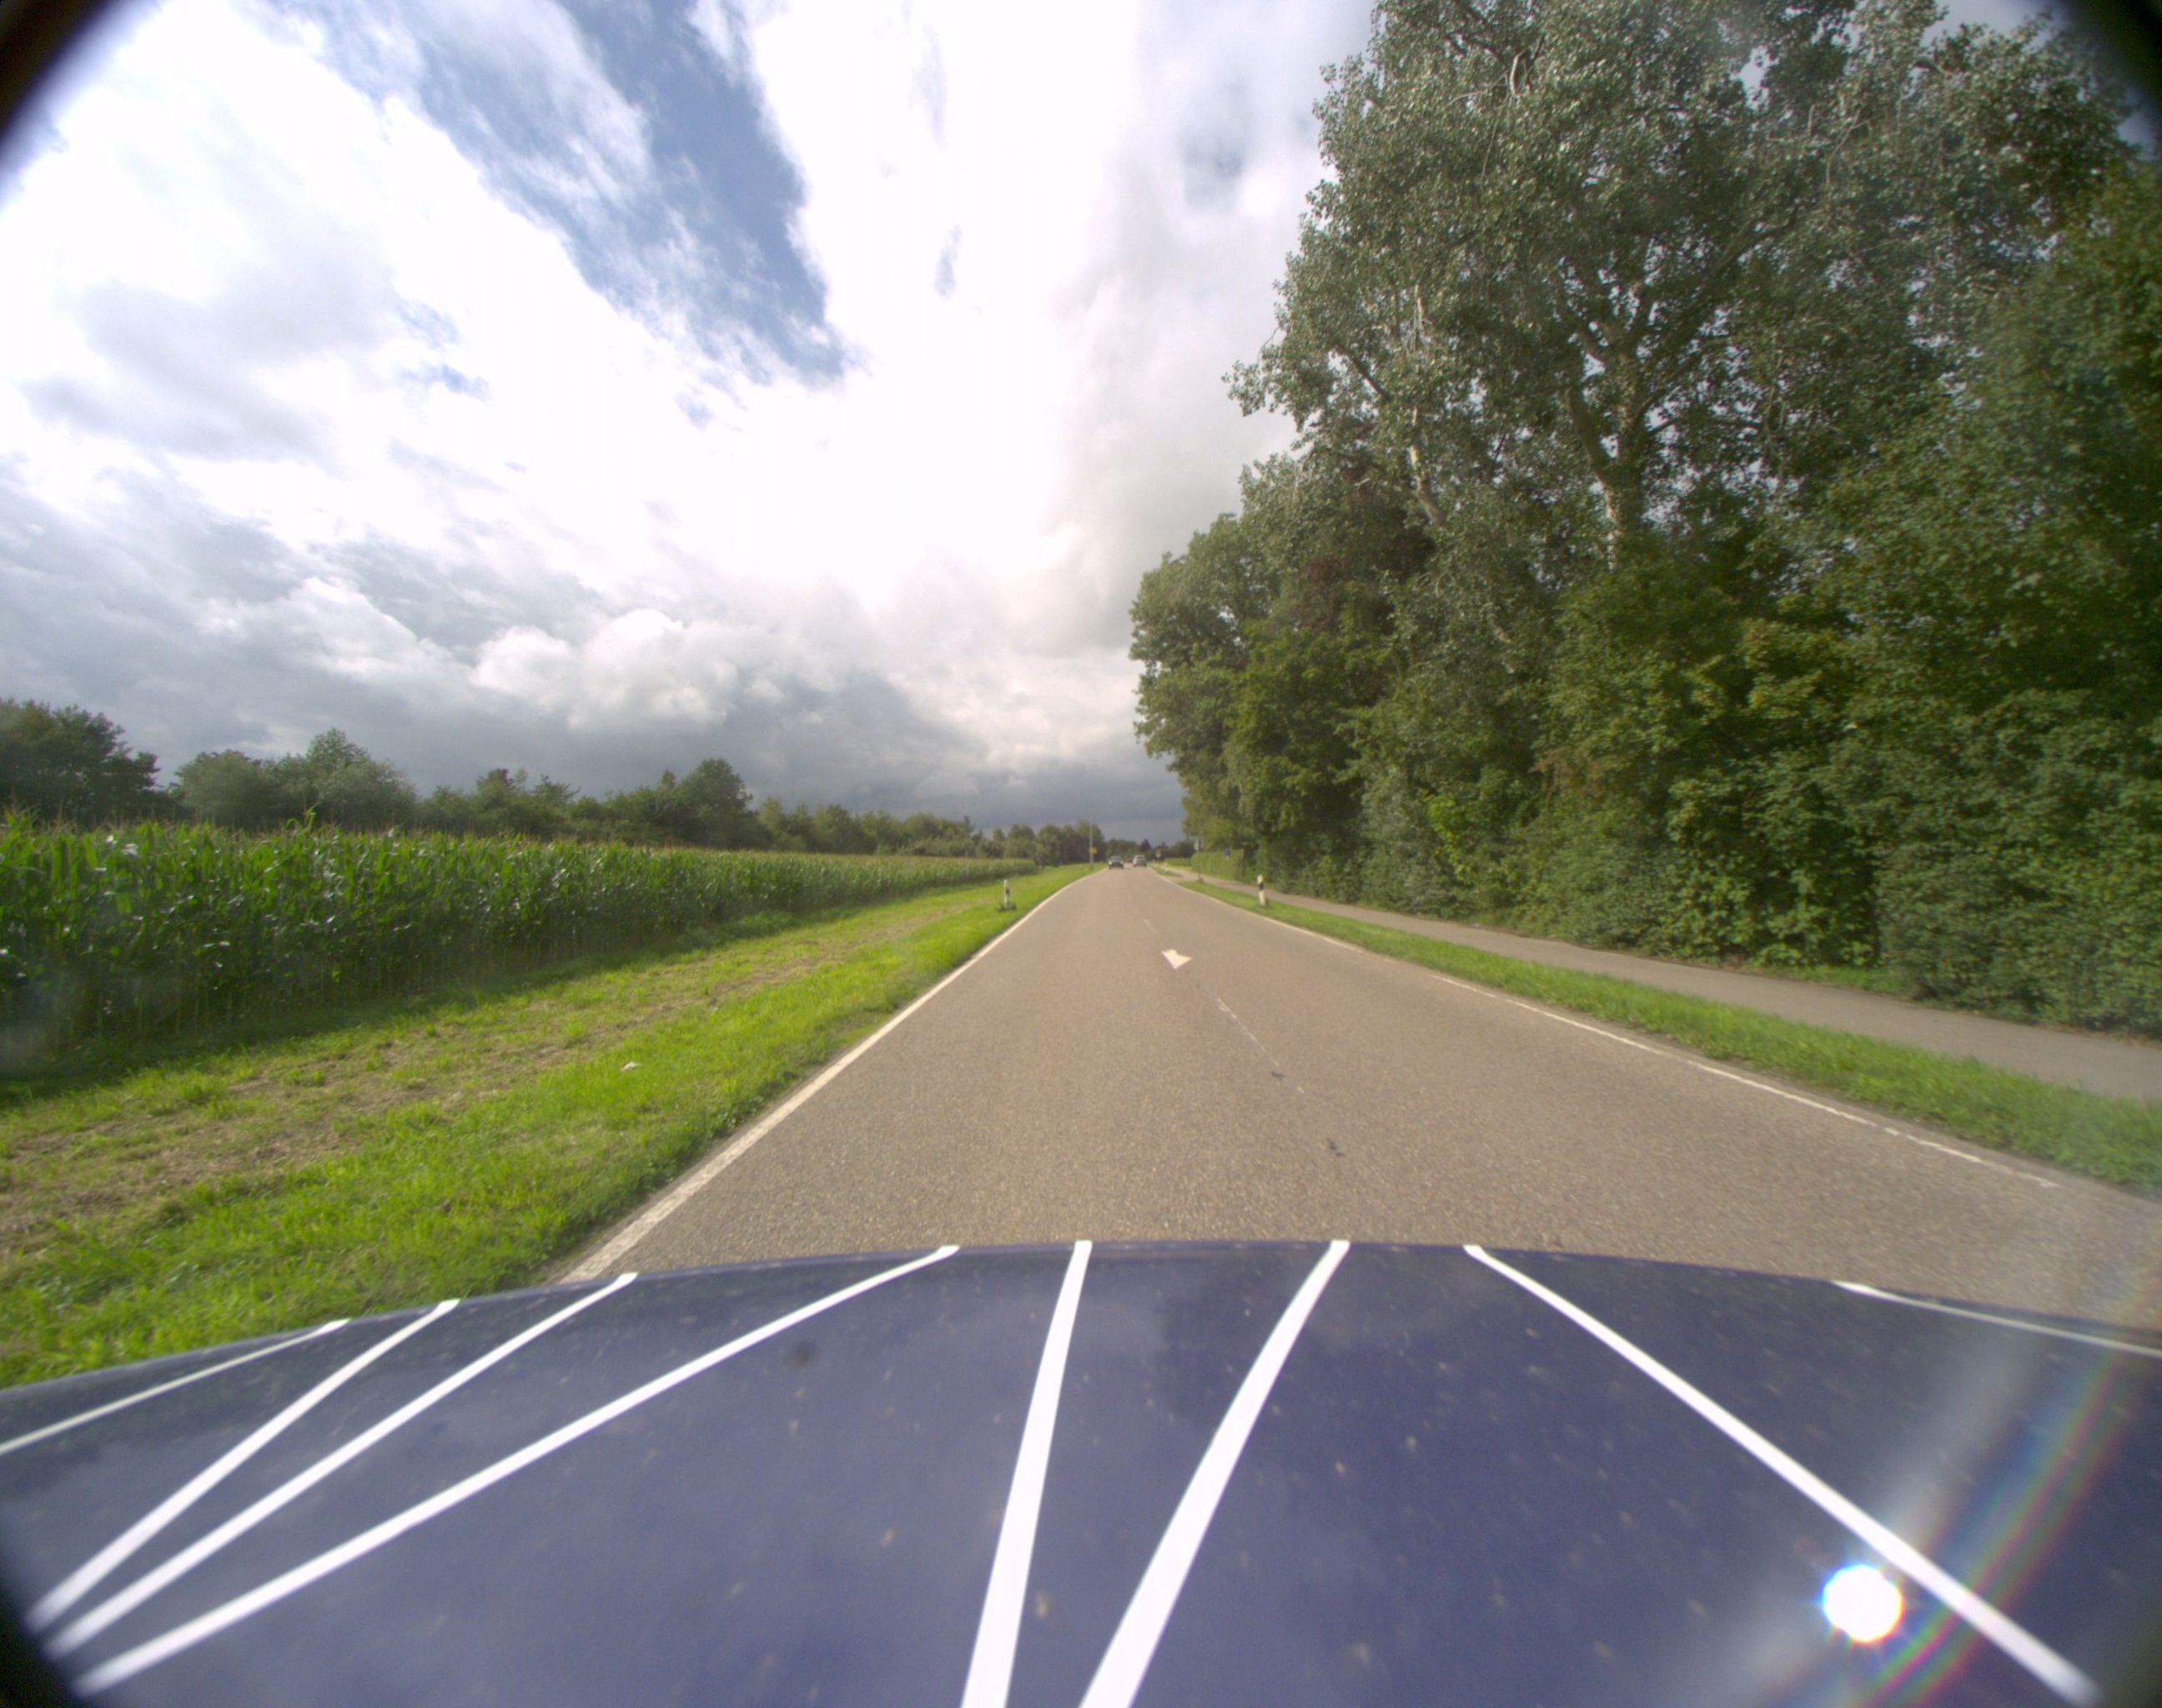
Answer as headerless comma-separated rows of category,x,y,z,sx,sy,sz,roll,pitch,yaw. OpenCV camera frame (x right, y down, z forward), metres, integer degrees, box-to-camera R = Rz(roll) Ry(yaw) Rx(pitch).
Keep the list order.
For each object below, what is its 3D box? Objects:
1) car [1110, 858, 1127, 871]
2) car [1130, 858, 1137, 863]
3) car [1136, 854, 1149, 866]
car,4.776,1.353,96.536,1.998,1.594,4.001,-2,0,4
car,13.872,1.680,200.489,1.744,1.462,4.001,0,0,4
car,8.842,0.847,109.778,1.815,1.641,4.293,1,0,4
